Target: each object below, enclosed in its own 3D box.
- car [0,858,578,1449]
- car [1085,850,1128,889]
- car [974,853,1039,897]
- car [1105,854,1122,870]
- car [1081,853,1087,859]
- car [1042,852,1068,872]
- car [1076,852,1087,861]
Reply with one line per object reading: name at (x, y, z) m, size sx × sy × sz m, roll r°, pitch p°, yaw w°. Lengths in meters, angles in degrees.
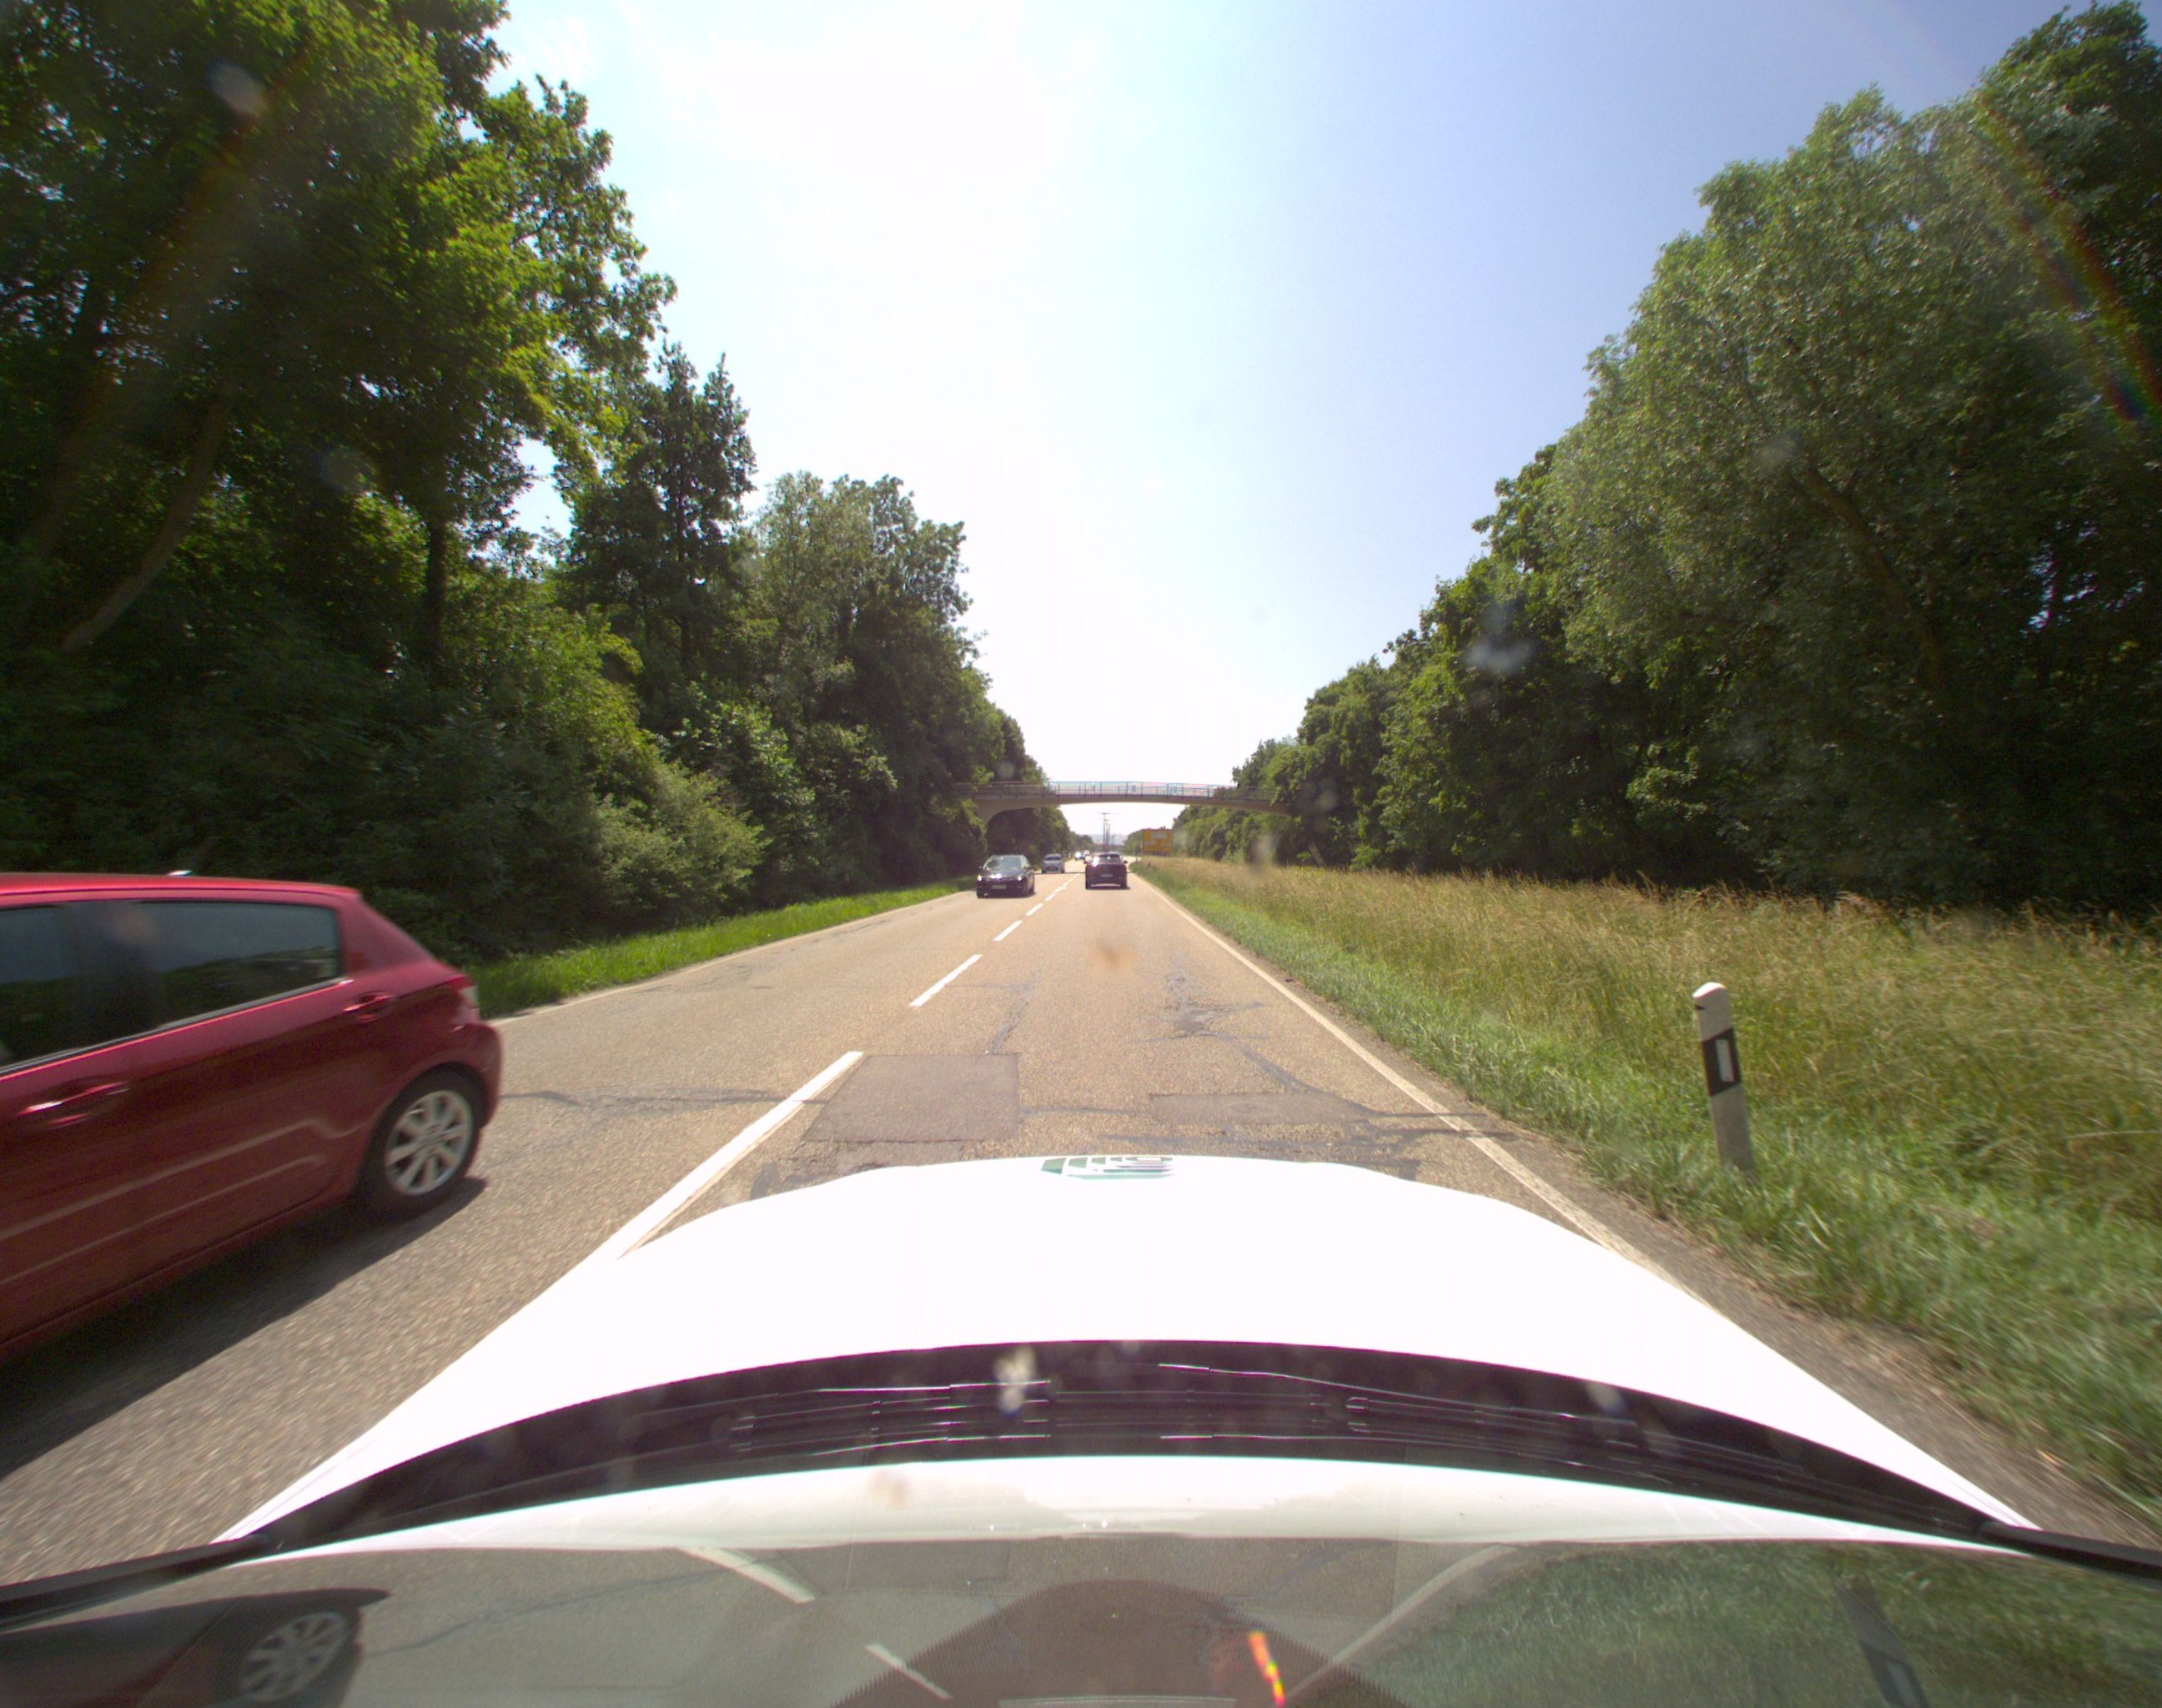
car at (-3.579, 0.769, 2.392) m, size 1.676 × 1.493 × 4.000 m, roll 0°, pitch 0°, yaw 0°
car at (1.142, 0.634, 35.426) m, size 1.748 × 1.556 × 4.002 m, roll 1°, pitch 0°, yaw 2°
car at (-2.656, 0.721, 29.835) m, size 1.776 × 1.449 × 4.113 m, roll -1°, pitch 0°, yaw 3°
car at (3.476, 0.843, 87.368) m, size 1.790 × 1.583 × 4.002 m, roll -1°, pitch 0°, yaw 2°
car at (1.011, 0.608, 253.306) m, size 1.725 × 1.688 × 4.096 m, roll -1°, pitch 0°, yaw 1°
car at (-1.999, 0.614, 63.128) m, size 1.671 × 1.433 × 3.775 m, roll -1°, pitch 0°, yaw 3°
car at (0.051, 0.443, 152.836) m, size 1.816 × 1.590 × 4.421 m, roll -2°, pitch 0°, yaw 2°
